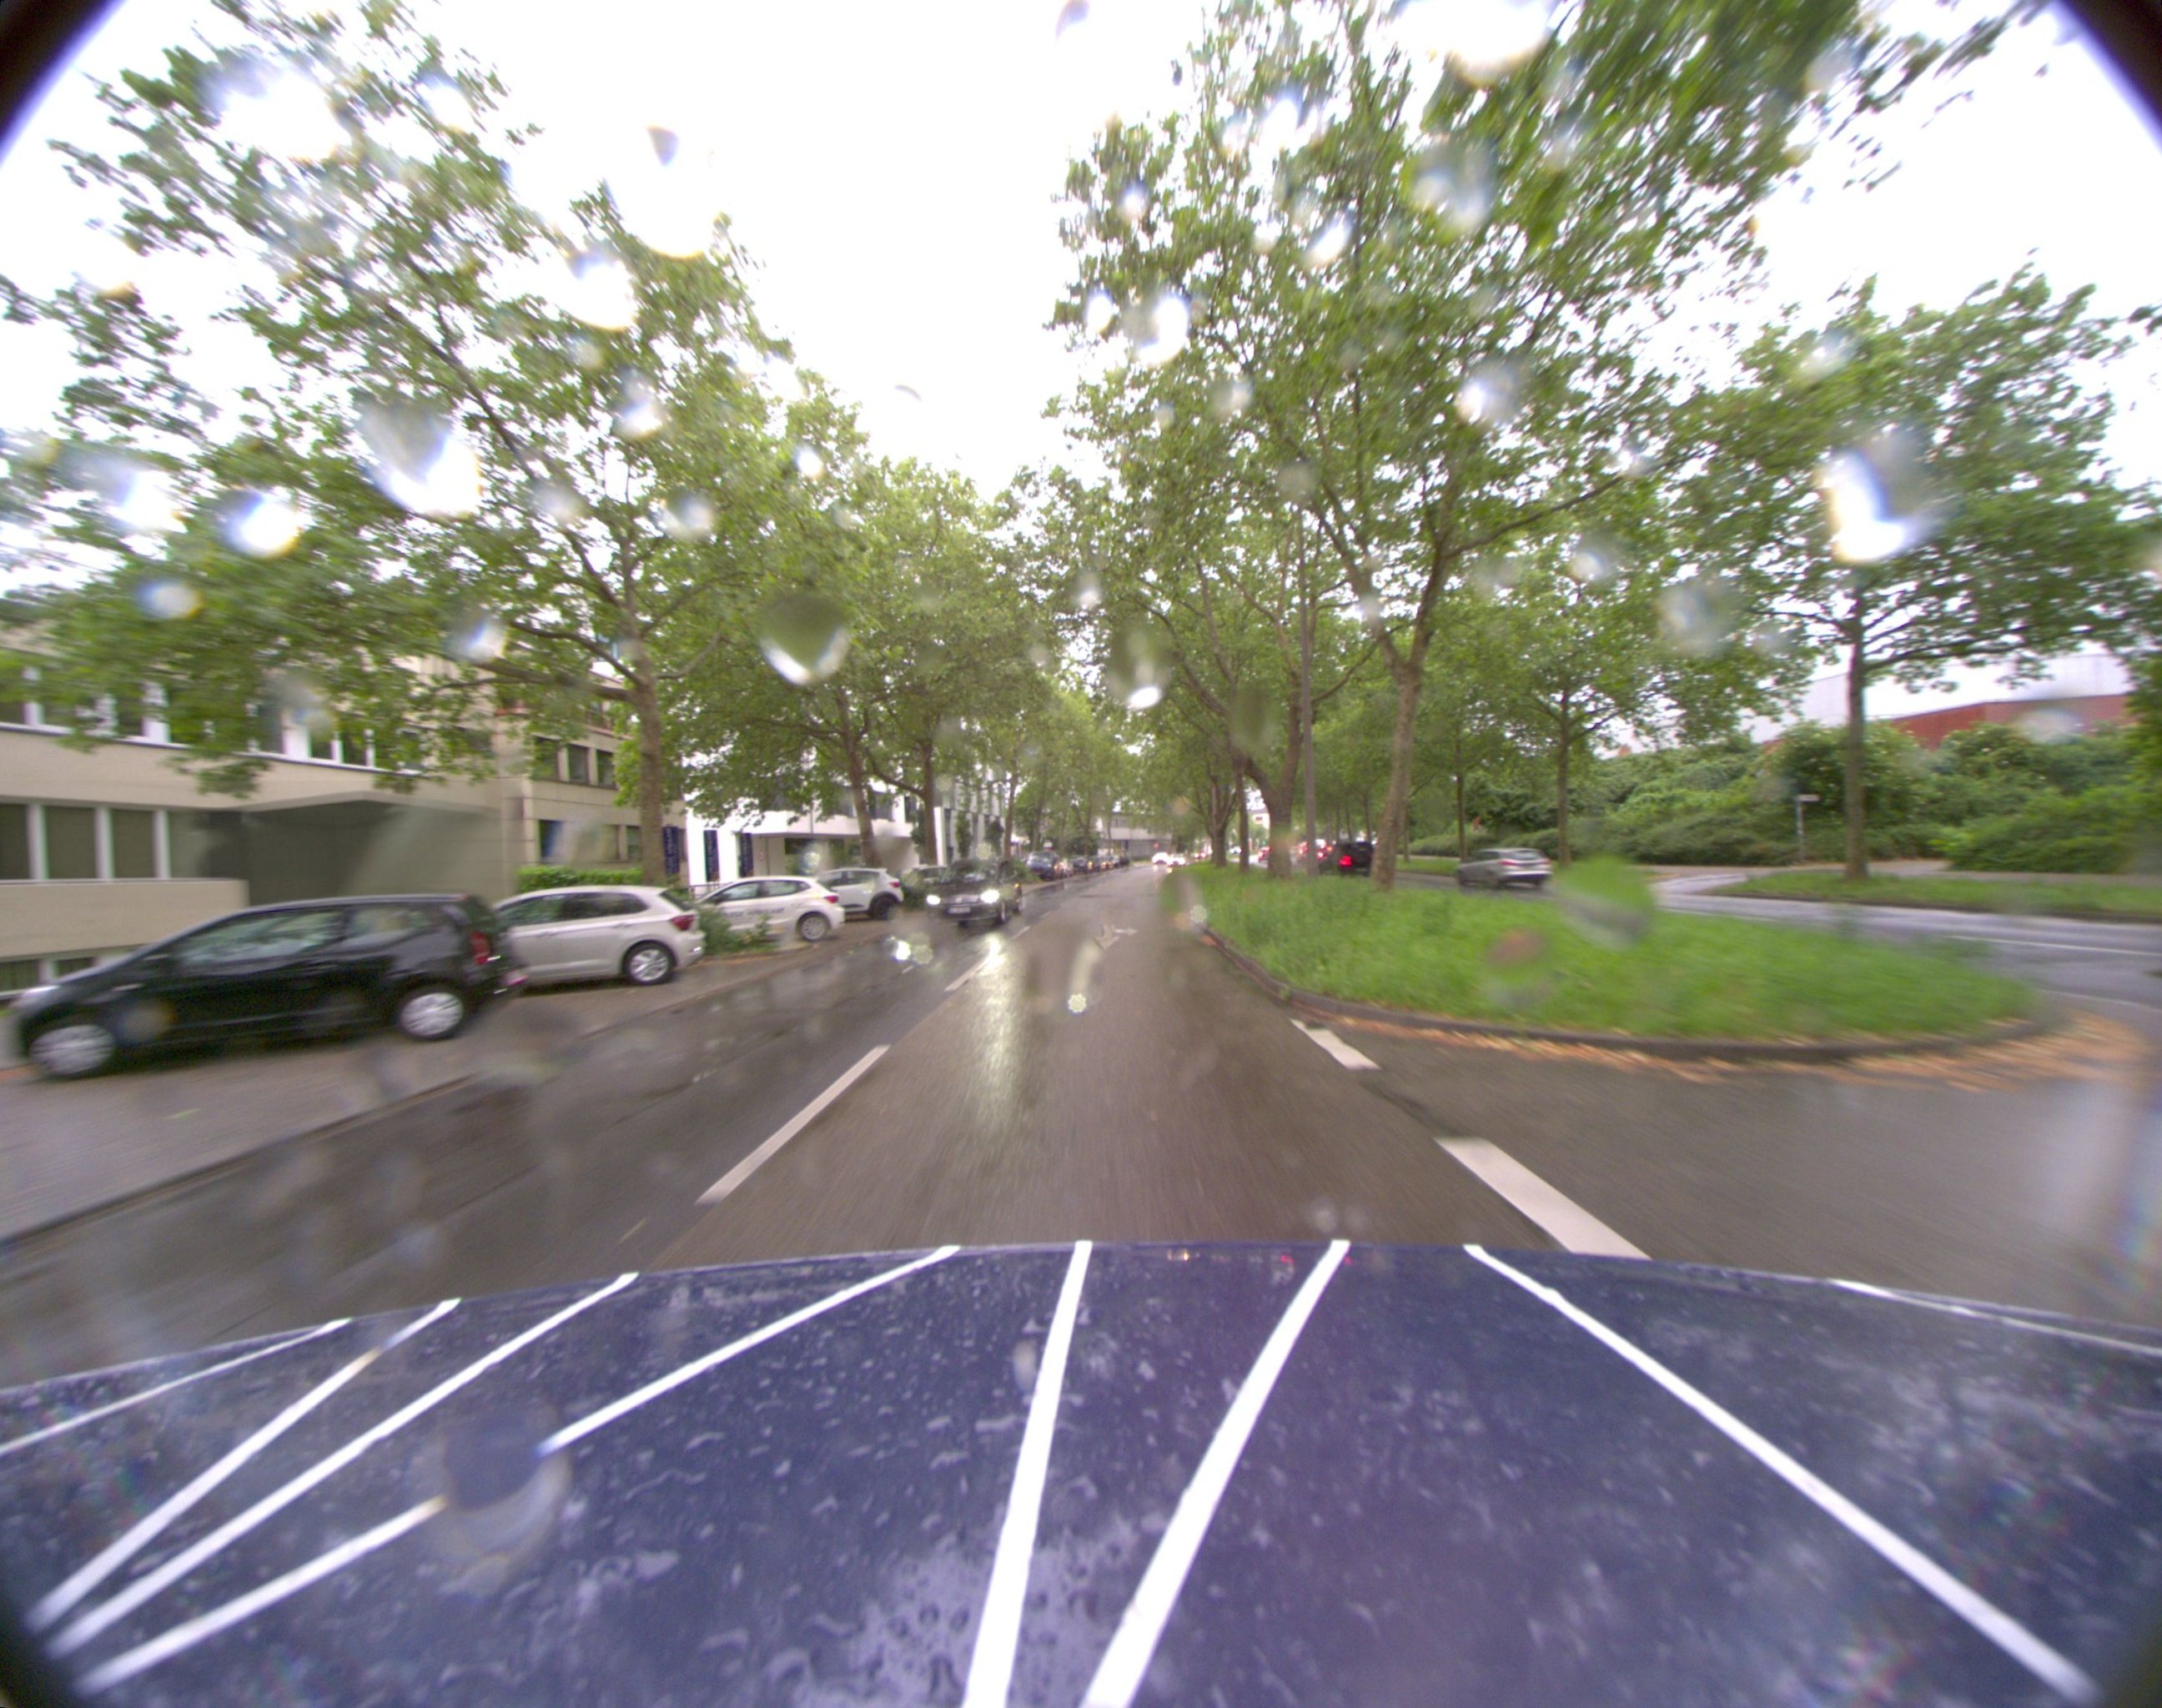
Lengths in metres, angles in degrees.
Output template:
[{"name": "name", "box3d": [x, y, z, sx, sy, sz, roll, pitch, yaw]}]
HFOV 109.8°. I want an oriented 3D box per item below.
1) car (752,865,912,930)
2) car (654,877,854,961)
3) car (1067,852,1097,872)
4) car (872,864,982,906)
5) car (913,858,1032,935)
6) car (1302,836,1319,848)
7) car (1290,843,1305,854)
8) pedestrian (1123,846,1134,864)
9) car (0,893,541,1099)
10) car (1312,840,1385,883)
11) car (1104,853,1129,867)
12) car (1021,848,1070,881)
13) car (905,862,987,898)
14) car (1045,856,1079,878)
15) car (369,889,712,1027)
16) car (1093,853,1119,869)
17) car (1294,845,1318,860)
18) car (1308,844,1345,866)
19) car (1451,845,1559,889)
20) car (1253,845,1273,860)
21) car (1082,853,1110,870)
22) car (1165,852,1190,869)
[{"name": "car", "box3d": [-7.076, 1.165, 21.650, 4.043, 1.530, 1.745, -3, 1, -27]}, {"name": "car", "box3d": [-6.900, 1.312, 16.313, 3.696, 1.408, 1.746, -3, 1, -22]}, {"name": "car", "box3d": [0.097, 0.684, 64.891, 1.746, 1.557, 4.374, -2, 0, 10]}, {"name": "car", "box3d": [-6.245, 1.207, 30.849, 4.043, 1.420, 1.745, -3, 1, -25]}, {"name": "car", "box3d": [-2.666, 0.999, 20.218, 1.998, 1.585, 5.590, -3, 0, 3]}, {"name": "car", "box3d": [42.707, -2.261, 141.254, 2.031, 2.213, 5.443, -2, 1, 27]}, {"name": "car", "box3d": [31.041, -0.813, 108.888, 1.745, 1.451, 3.847, -2, 0, 19]}, {"name": "pedestrian", "box3d": [5.368, 0.086, 85.292, 0.900, 2.002, 0.832, -3, 1, -24]}, {"name": "car", "box3d": [-7.886, 1.249, 7.636, 3.697, 1.408, 1.745, -3, 1, -25]}, {"name": "car", "box3d": [12.716, 0.331, 36.422, 1.747, 1.831, 5.120, -3, 0, 1]}, {"name": "car", "box3d": [3.932, 0.595, 84.222, 1.745, 1.420, 4.864, 0, 1, 15]}, {"name": "car", "box3d": [-2.344, 0.646, 52.205, 2.125, 2.016, 5.531, -2, 0, 10]}, {"name": "car", "box3d": [-6.252, 1.196, 35.343, 3.647, 1.495, 1.748, -2, -1, -9]}, {"name": "car", "box3d": [-1.408, 0.970, 58.450, 1.746, 1.460, 4.309, -2, 0, 10]}, {"name": "car", "box3d": [-7.378, 1.343, 10.886, 3.697, 1.408, 1.772, -3, 1, -26]}, {"name": "car", "box3d": [2.635, 0.683, 77.791, 1.746, 1.420, 5.108, -2, 0, 12]}, {"name": "car", "box3d": [23.284, -0.148, 78.734, 1.747, 1.468, 4.084, -2, 0, 8]}, {"name": "car", "box3d": [19.436, 0.065, 60.280, 1.747, 1.582, 4.210, -2, 0, 4]}, {"name": "car", "box3d": [15.794, 0.446, 28.559, 1.747, 1.468, 4.235, -3, 0, 2]}, {"name": "car", "box3d": [20.580, -0.228, 85.882, 1.747, 1.582, 4.332, -2, 0, 8]}, {"name": "car", "box3d": [1.481, 0.717, 71.805, 1.746, 1.468, 4.086, -2, 0, 13]}, {"name": "car", "box3d": [10.469, 0.646, 82.207, 1.996, 1.620, 4.526, -3, 1, 14]}]
